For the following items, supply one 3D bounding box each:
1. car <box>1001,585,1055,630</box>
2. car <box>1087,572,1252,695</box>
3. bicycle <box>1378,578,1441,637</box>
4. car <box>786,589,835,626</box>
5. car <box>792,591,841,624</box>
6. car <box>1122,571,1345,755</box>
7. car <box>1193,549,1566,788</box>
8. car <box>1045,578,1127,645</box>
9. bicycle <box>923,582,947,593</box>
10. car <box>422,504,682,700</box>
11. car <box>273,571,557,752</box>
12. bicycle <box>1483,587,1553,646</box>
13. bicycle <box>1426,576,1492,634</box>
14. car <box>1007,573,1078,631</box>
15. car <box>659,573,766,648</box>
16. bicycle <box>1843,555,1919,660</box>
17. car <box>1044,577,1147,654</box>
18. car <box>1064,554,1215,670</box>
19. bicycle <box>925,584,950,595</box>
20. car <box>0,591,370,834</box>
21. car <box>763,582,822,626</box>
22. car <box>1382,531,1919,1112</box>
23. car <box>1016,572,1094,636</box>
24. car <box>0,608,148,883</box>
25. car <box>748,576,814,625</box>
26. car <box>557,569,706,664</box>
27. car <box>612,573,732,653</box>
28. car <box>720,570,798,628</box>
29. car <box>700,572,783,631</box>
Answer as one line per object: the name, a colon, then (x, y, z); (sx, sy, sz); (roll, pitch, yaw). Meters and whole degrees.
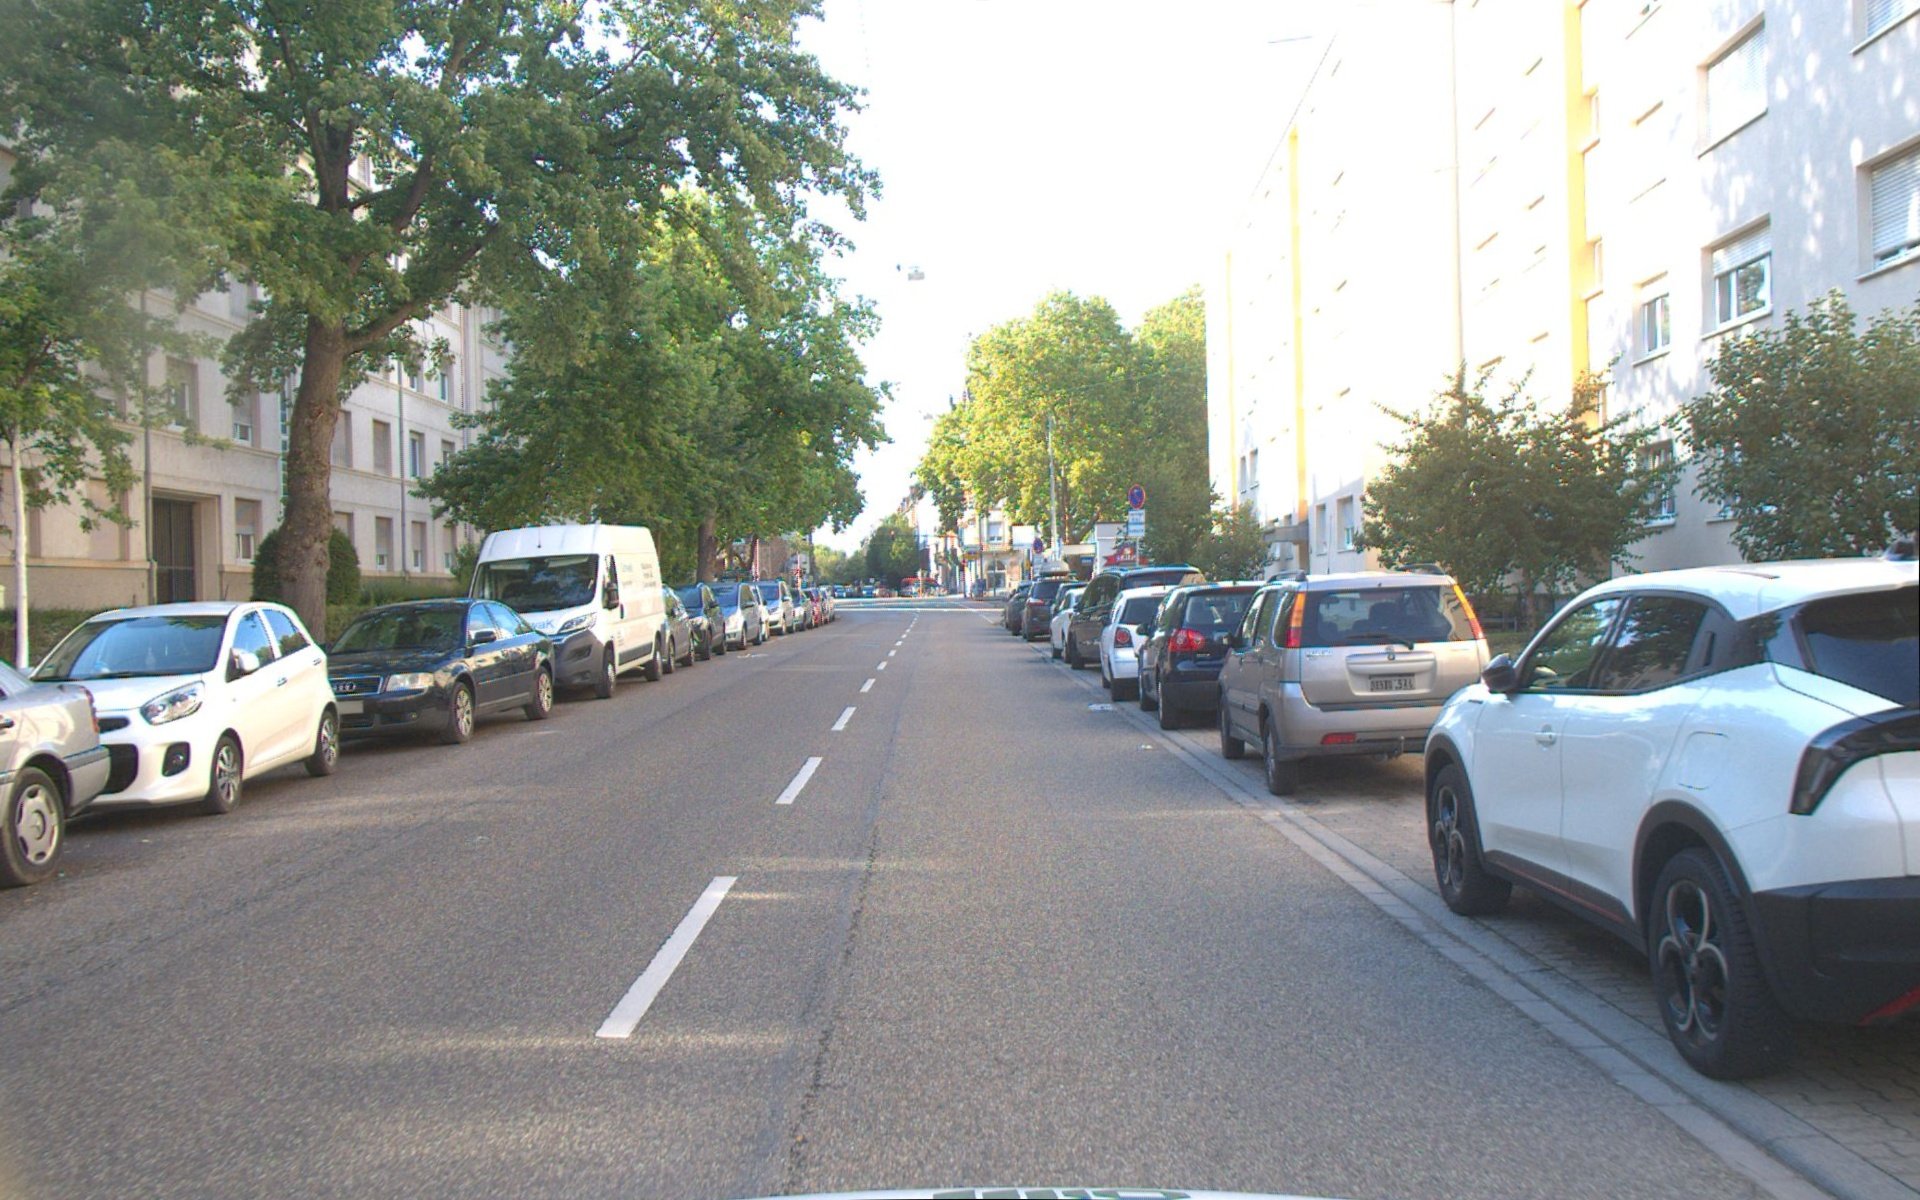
car: (2.382, 0.275, 58.751); (1.705, 1.499, 3.999); (1, -1, -1)
car: (2.820, 0.445, 23.090); (1.799, 1.528, 4.172); (1, -1, 0)
bicycle: (9.121, 0.135, 33.641); (0.588, 1.100, 2.393); (-1, 2, -1)
car: (-6.063, 0.322, 67.541); (1.669, 1.465, 4.128); (1, -1, -1)
car: (-6.232, 0.356, 72.243); (1.733, 1.376, 4.709); (1, -1, -1)
car: (2.939, 0.654, 18.568); (1.800, 1.803, 3.977); (1, -1, 0)
car: (3.174, 0.490, 13.463); (1.922, 1.633, 4.278); (0, -1, 0)
car: (2.970, 0.289, 39.691); (1.573, 1.520, 4.041); (0, -1, -1)
bicycle: (-2.889, -1.477, 191.430); (2.749, 1.225, 0.516); (1, -1, -6)
car: (-5.795, 0.059, 24.459); (2.310, 2.488, 6.164); (-1, -1, 0)
car: (-5.594, 0.598, 17.474); (1.673, 1.601, 3.818); (-3, -1, -1)
bicycle: (11.305, 0.307, 33.581); (0.588, 1.100, 2.393); (-1, 2, -1)
bicycle: (10.109, 0.082, 33.608); (0.588, 1.100, 2.393); (-1, 2, -1)
car: (2.546, 0.090, 52.035); (1.888, 1.688, 4.676); (1, -1, -1)
car: (-6.039, 0.214, 40.855); (1.833, 1.585, 5.056); (-5, 1, -1)
bicycle: (10.671, 0.074, 18.354); (0.483, 1.132, 2.395); (-5, -1, 3)
car: (2.694, 0.325, 33.816); (1.645, 1.440, 4.723); (1, -1, -1)
car: (2.963, 0.222, 28.310); (1.983, 1.780, 4.765); (1, -1, -1)
bicycle: (-2.567, -1.237, 189.749); (2.750, 1.225, 0.509); (1, -1, -8)
car: (-5.899, 0.764, 12.550); (1.672, 1.601, 3.260); (0, -1, 0)
car: (-6.279, 0.172, 62.366); (1.833, 1.586, 3.999); (1, -1, -1)
car: (3.119, 0.547, 6.252); (1.836, 1.468, 3.998); (-2, -1, -2)
car: (2.596, 0.088, 46.203); (1.859, 1.680, 4.342); (-1, 0, -1)
car: (-5.715, 0.710, 7.555); (1.836, 1.379, 4.651); (1, -1, -2)
car: (-6.146, 0.054, 57.306); (1.833, 1.586, 4.496); (1, -1, -1)
car: (-5.956, 0.313, 30.493); (1.917, 1.586, 4.345); (1, -1, -1)
car: (-6.142, 0.284, 35.737); (1.833, 1.586, 4.364); (1, -1, -1)
car: (-6.261, 0.002, 52.018); (1.877, 1.707, 4.973); (1, -1, -1)
car: (-6.194, 0.071, 47.239); (1.833, 1.586, 4.100); (1, -1, -1)
